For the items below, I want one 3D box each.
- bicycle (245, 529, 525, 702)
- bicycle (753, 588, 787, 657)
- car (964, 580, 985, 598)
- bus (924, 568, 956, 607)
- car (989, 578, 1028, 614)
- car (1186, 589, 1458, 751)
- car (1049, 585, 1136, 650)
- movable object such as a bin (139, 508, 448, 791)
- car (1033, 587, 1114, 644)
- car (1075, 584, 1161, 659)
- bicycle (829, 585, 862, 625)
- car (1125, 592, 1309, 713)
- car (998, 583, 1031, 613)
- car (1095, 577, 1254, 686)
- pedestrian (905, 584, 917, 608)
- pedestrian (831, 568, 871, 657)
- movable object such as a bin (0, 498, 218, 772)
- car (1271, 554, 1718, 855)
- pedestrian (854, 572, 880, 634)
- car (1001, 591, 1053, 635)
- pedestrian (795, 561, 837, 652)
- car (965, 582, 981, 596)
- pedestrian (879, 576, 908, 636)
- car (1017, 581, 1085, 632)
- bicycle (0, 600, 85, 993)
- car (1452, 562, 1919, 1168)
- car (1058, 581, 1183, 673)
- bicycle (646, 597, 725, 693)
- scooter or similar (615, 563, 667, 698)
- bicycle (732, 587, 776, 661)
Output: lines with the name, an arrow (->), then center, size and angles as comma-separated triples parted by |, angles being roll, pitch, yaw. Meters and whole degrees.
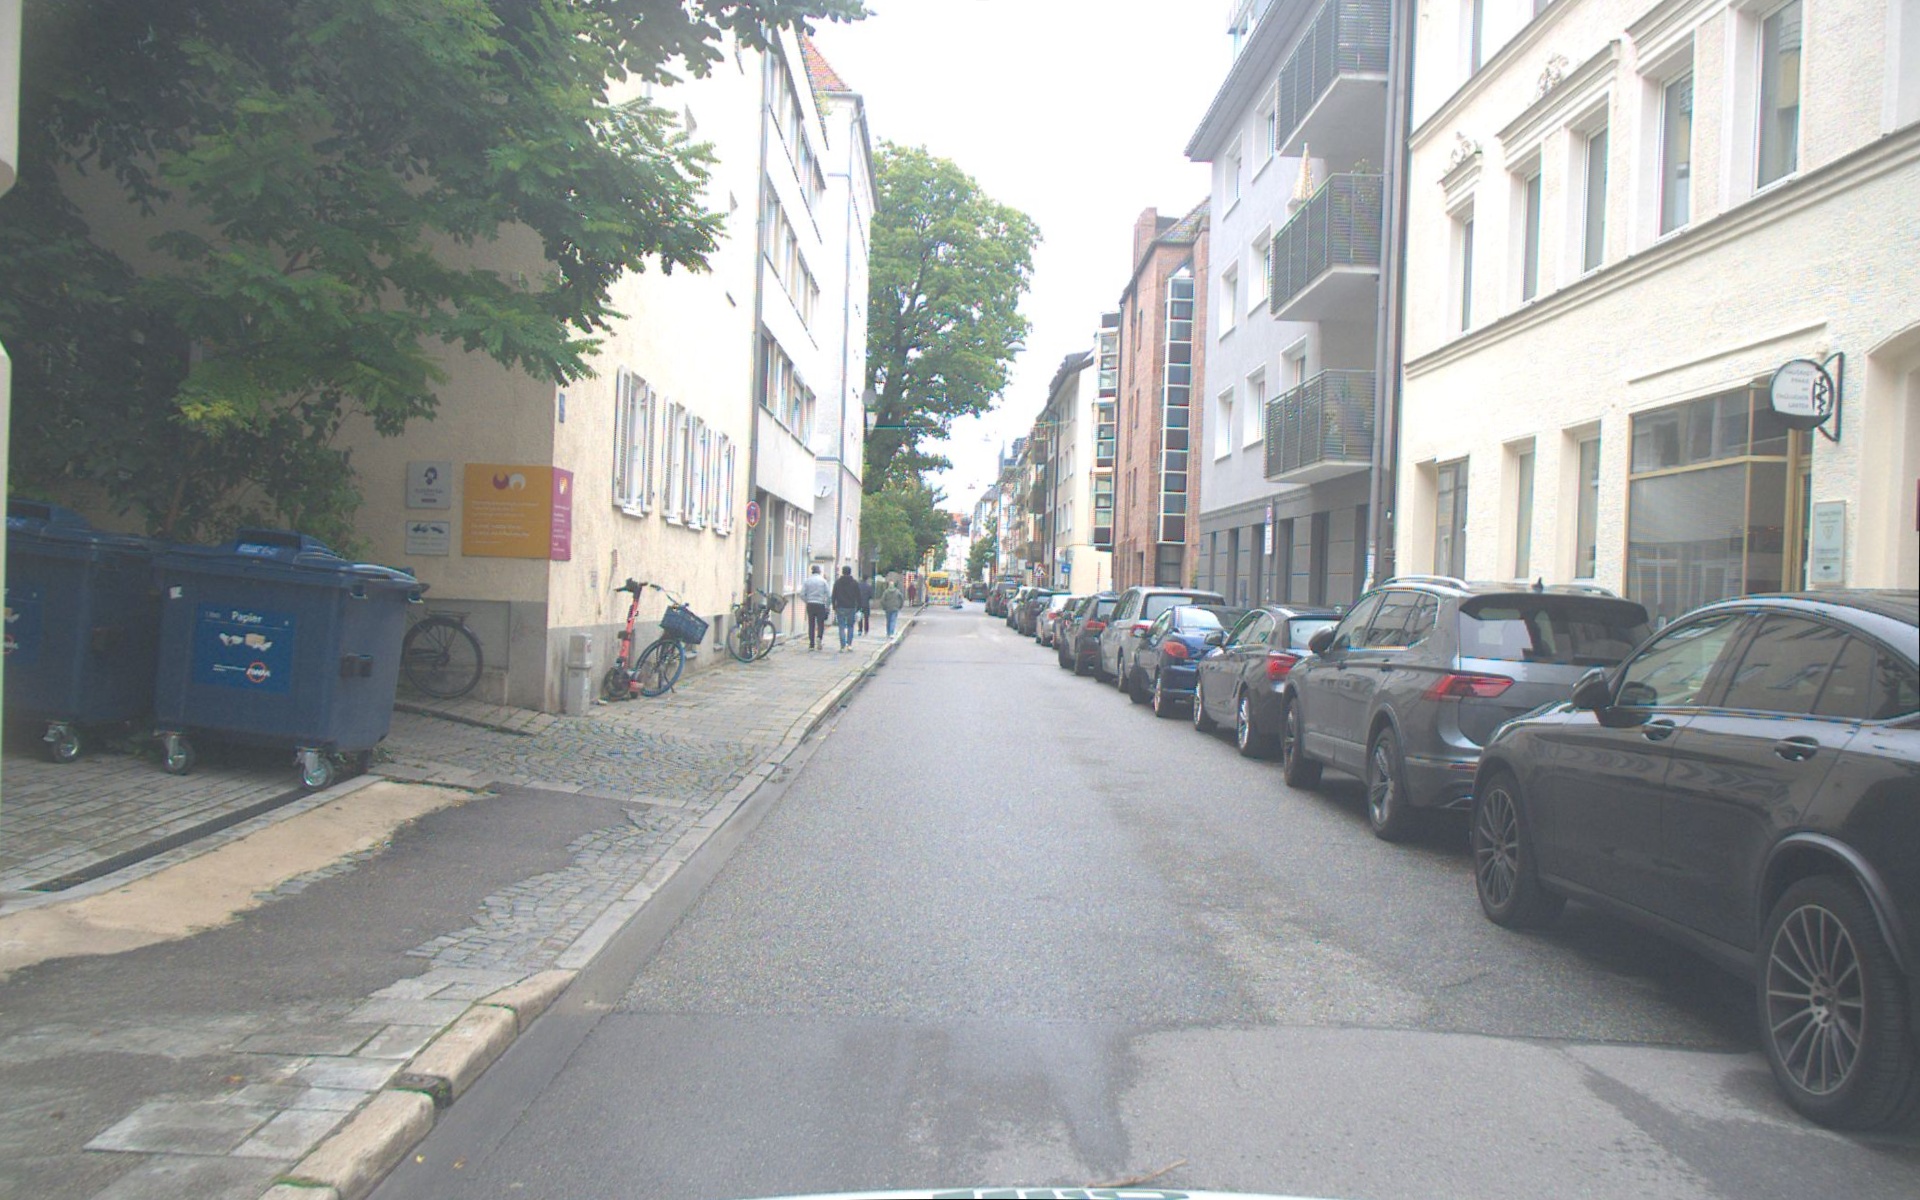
bicycle -> -4.967, 0.132, 14.349 | 2.156, 1.321, 0.514 | 4, 0, -1
bicycle -> -3.381, 0.390, 29.423 | 0.551, 1.179, 1.718 | 2, 0, -6
car -> 1.481, -1.135, 170.341 | 1.765, 1.741, 3.825 | 5, 0, -2
bus -> -1.645, -1.057, 138.524 | 2.540, 3.156, 6.305 | 1, 0, 0
car -> 2.683, -0.245, 92.715 | 1.766, 1.851, 3.998 | 5, 0, -3
car -> 3.550, 0.615, 17.036 | 1.763, 1.410, 4.348 | 1, 1, -1
car -> 3.303, 0.404, 41.792 | 1.710, 1.487, 4.149 | 2, 1, -2
movable object such as a bin -> -3.963, 0.263, 9.961 | 1.150, 1.466, 1.249 | 6, 2, 5
car -> 3.138, 0.401, 46.389 | 1.799, 1.442, 4.600 | 2, 1, -2
car -> 3.486, 0.442, 36.926 | 1.490, 1.538, 3.201 | 2, 1, -2
bicycle -> -3.629, 0.159, 52.384 | 0.631, 1.239, 1.655 | 1, 0, -19
car -> 3.245, 0.618, 21.569 | 1.771, 1.387, 3.945 | 1, 1, 0
car -> 2.881, -0.102, 88.357 | 1.591, 1.513, 3.808 | 2, 1, 0
car -> 3.328, 0.449, 26.489 | 1.838, 1.598, 4.314 | 0, 0, -2
pedestrian -> -3.181, -0.244, 106.884 | 0.740, 1.517, 0.831 | 1, 0, 0
pedestrian -> -2.274, 0.257, 34.610 | 0.704, 1.796, 0.838 | 3, 0, 0
movable object such as a bin -> -5.361, 0.164, 9.880 | 1.151, 1.428, 1.249 | 6, 2, 1
car -> 3.512, 0.580, 11.814 | 1.642, 1.690, 4.512 | 2, 1, -1
pedestrian -> -2.686, 0.075, 47.896 | 0.600, 1.743, 0.823 | 3, 0, -1
car -> 2.679, 0.500, 66.641 | 1.713, 1.658, 4.194 | 1, 1, -3
pedestrian -> -2.997, 0.124, 34.412 | 0.704, 1.828, 0.917 | 3, 0, 0
car -> 1.534, -1.361, 198.783 | 1.764, 1.642, 4.000 | 2, 1, 0
pedestrian -> -1.931, 0.171, 48.081 | 0.737, 1.688, 0.906 | 3, 0, -1
car -> 3.055, 0.182, 56.235 | 1.848, 1.582, 4.389 | 2, 1, -3
bicycle -> -3.148, 0.601, 4.501 | 0.533, 1.181, 1.881 | 3, 0, -2
car -> 3.426, 0.721, 6.210 | 1.667, 1.635, 4.684 | 2, 1, -1
car -> 2.969, 0.458, 31.369 | 1.802, 1.555, 4.291 | 2, 1, -2
bicycle -> -3.225, 0.508, 19.567 | 0.690, 1.001, 1.821 | 6, 0, -5
scooter or similar -> -3.430, 0.319, 17.831 | 0.311, 1.400, 1.239 | 1, 0, -1
bicycle -> -3.442, 0.392, 27.706 | 0.448, 1.179, 1.605 | 4, 0, 0
